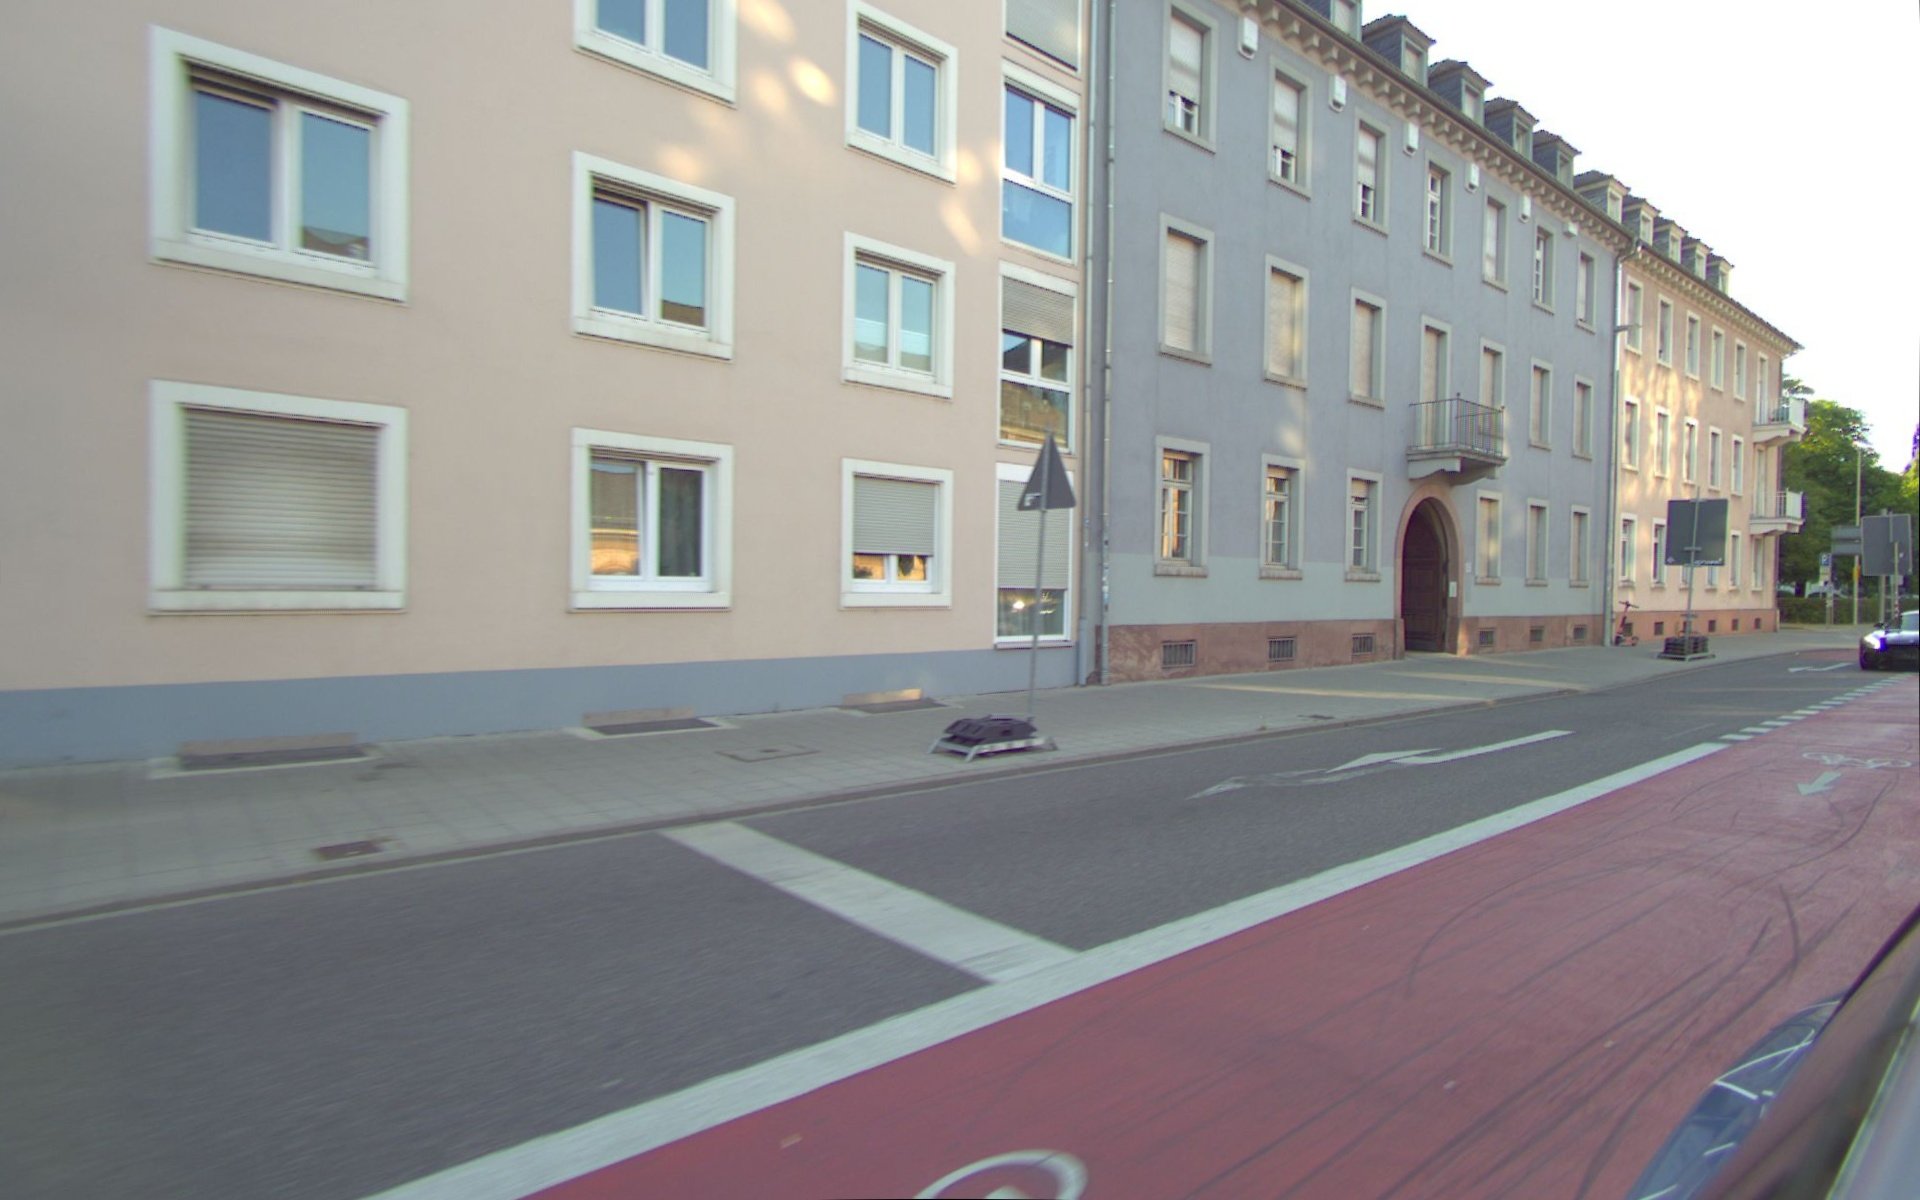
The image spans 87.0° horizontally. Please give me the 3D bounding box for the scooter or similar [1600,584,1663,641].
[{"bbox_3d":[18.376,0.325,27.688,1.638,1.476,0.729,0,3,-30],"label":"scooter or similar"}]

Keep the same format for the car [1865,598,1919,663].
[{"bbox_3d":[21.414,0.614,21.894,4.281,1.317,2.182,0,0,-41],"label":"car"}]
